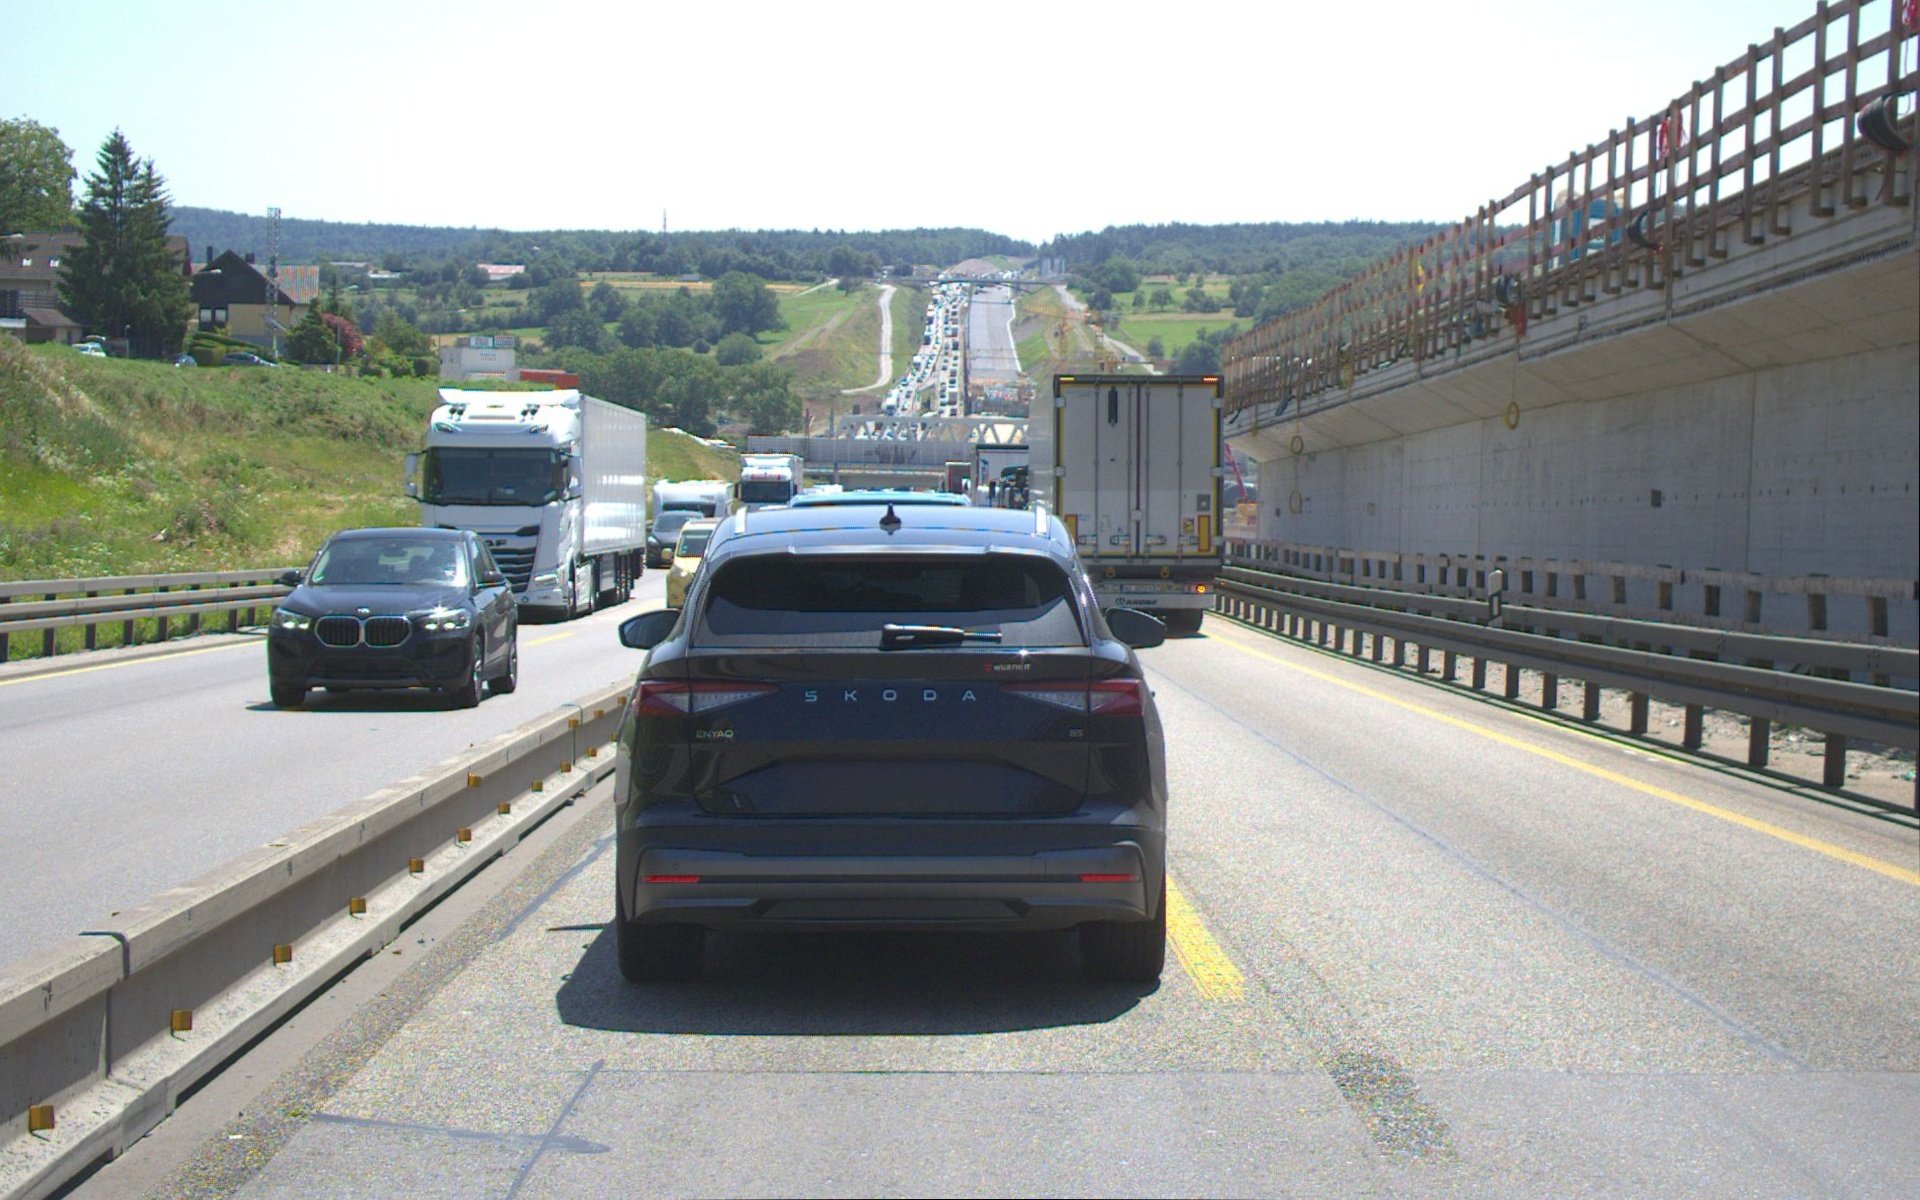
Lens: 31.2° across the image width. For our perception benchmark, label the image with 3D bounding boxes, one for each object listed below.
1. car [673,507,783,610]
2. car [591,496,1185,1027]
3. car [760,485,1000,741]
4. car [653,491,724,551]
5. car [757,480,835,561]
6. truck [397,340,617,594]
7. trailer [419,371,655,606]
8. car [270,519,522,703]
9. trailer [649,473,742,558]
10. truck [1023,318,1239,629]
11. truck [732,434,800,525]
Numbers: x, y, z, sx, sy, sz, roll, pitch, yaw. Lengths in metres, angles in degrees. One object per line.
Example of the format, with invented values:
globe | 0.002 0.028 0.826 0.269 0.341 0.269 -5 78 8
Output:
car | -4.264 -0.794 63.746 1.775 1.814 4.434 1 1 -1
car | -0.280 0.465 12.339 1.782 1.592 3.755 1 1 -2
car | -0.716 0.071 28.417 1.749 1.888 3.756 3 1 -3
car | -8.044 -2.340 102.082 1.747 1.579 4.000 4 0 -1
car | -4.295 -2.064 90.614 1.862 2.007 4.806 1 0 -1
truck | -7.979 -2.270 61.318 3.180 4.223 6.485 1 0 -2
trailer | -8.116 -2.110 67.817 3.220 4.144 13.409 1 1 -1
car | -5.080 0.052 31.414 1.700 1.555 4.104 1 1 -1
trailer | -8.448 -2.688 110.322 2.485 2.604 5.867 0 0 0
truck | 2.681 -1.927 57.651 2.846 4.599 11.811 2 0 0
truck | -9.303 -5.766 165.834 2.753 4.212 8.100 1 1 0
